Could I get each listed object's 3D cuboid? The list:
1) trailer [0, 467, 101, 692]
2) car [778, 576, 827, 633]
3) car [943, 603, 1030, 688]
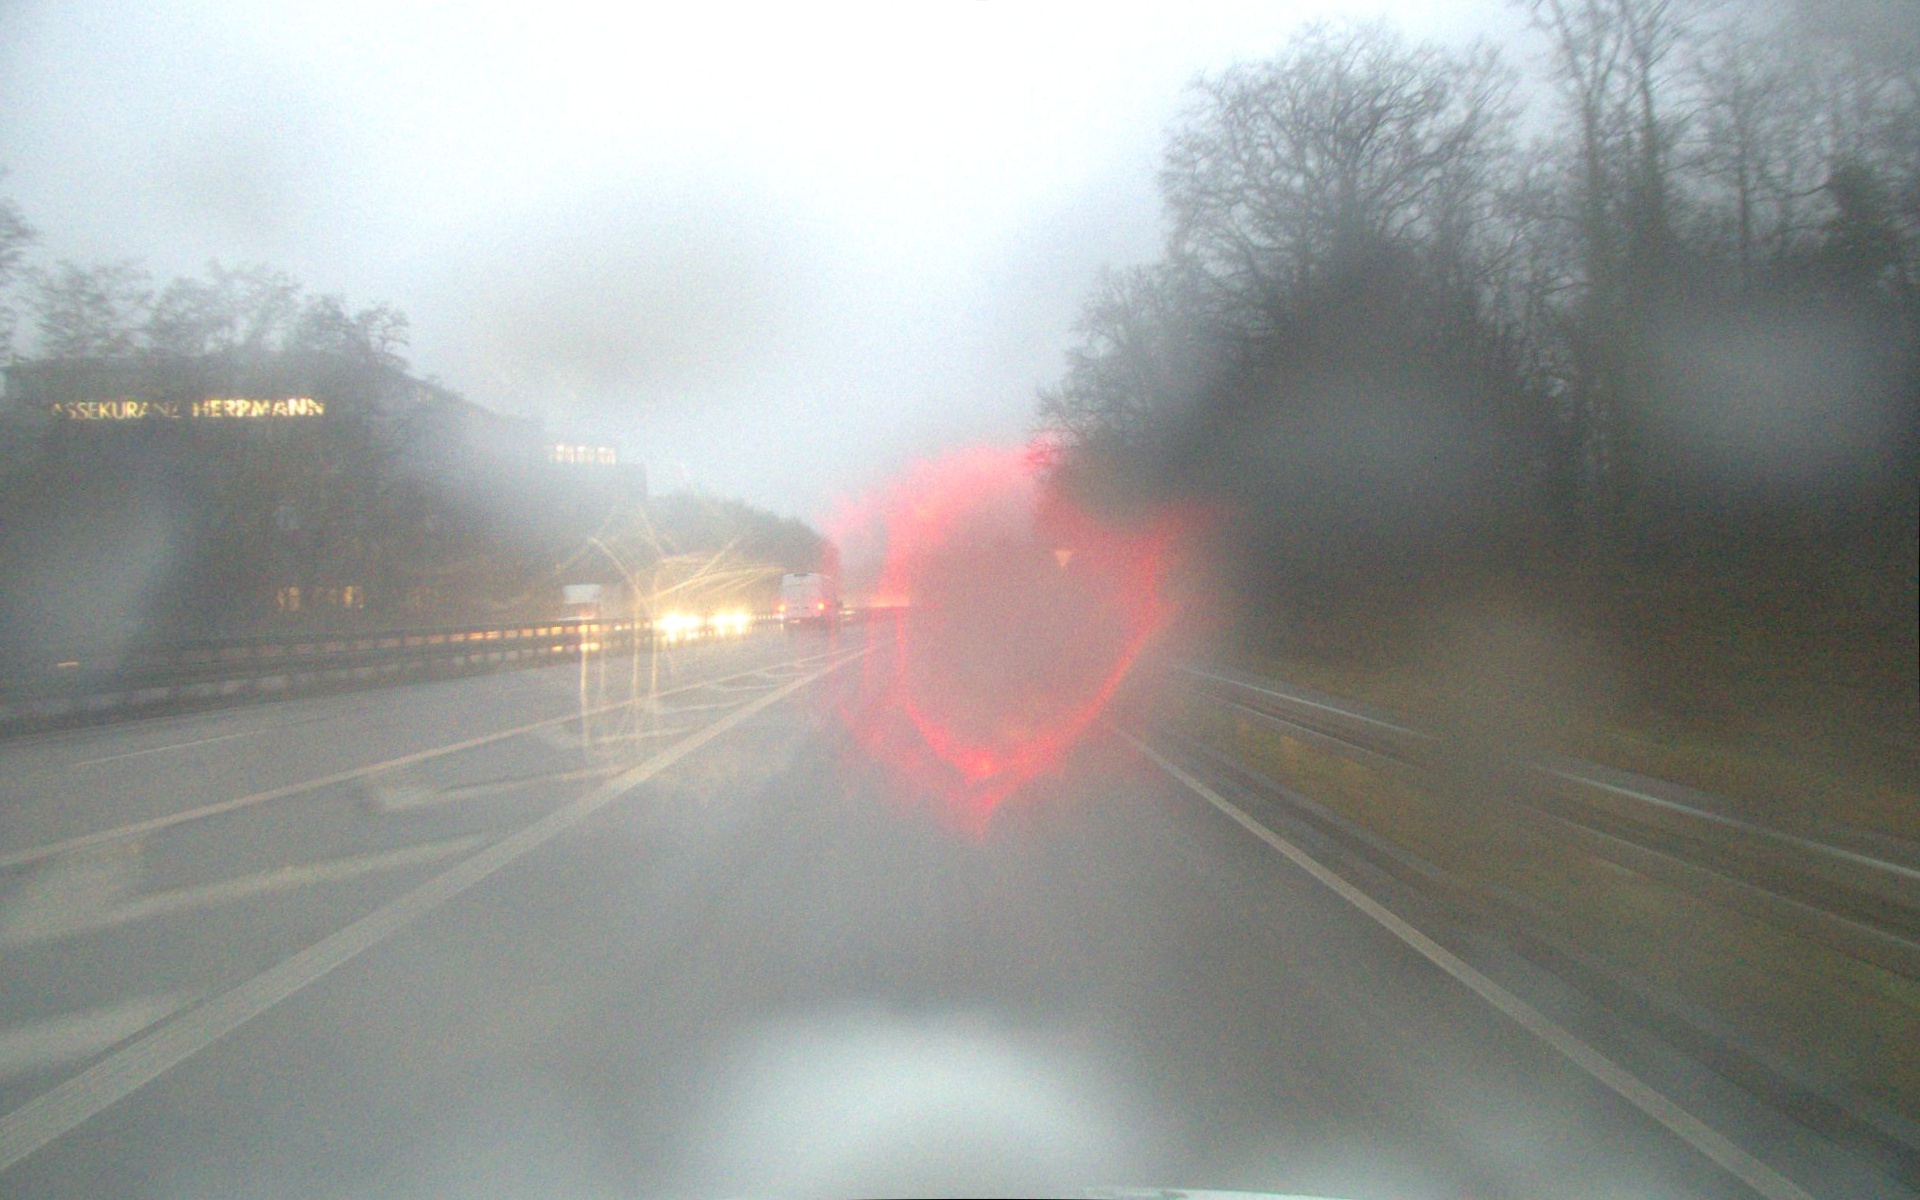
[{"bbox_3d":[-23.017,-0.466,33.343,3.416,4.932,13.487,0,0,5],"label":"trailer"},{"bbox_3d":[-7.178,0.208,75.704,1.960,2.496,3.998,0,0,-2],"label":"car"},{"bbox_3d":[0.455,0.788,30.186,1.496,1.440,3.478,0,0,0],"label":"car"}]
